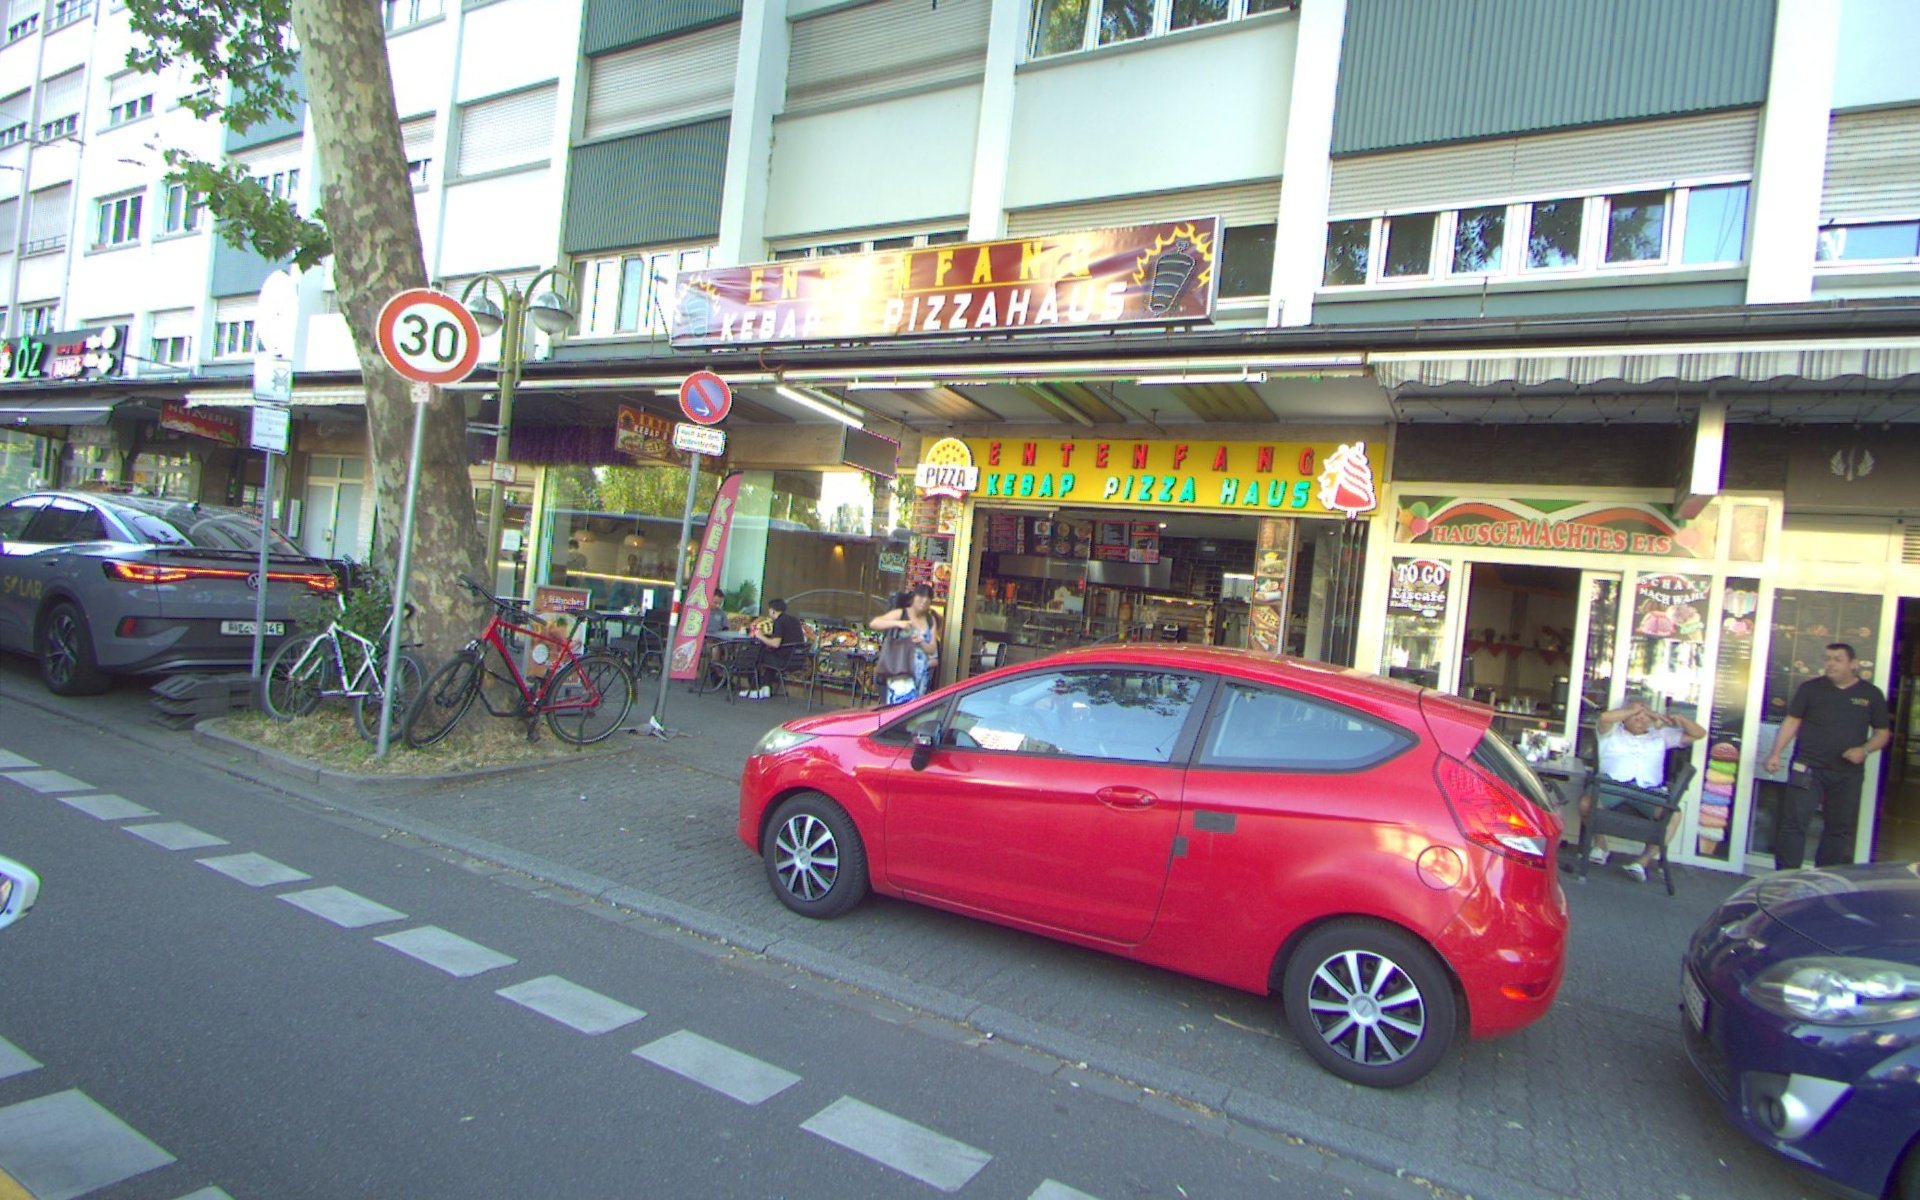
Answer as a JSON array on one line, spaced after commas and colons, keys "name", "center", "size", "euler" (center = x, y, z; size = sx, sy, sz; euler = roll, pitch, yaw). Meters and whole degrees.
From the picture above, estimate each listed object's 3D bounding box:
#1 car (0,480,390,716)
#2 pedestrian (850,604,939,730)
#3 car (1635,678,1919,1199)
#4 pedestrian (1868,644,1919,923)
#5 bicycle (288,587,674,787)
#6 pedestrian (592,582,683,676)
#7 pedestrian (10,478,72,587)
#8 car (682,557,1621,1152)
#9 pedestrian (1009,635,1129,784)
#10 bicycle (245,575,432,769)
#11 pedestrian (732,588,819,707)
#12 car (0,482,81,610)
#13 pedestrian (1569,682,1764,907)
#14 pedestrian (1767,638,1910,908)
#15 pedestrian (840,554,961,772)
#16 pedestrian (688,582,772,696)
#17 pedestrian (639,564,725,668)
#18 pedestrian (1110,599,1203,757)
[{"name": "car", "center": [-7.567, -0.146, 9.206], "size": [4.292, 1.603, 1.996], "euler": [7, 2, 27]}, {"name": "pedestrian", "center": [-0.700, 0.712, 10.842], "size": [0.550, 1.252, 0.689], "euler": [7, 2, 29]}, {"name": "car", "center": [4.191, 1.240, 2.802], "size": [3.549, 1.488, 1.767], "euler": [6, 3, 29]}, {"name": "pedestrian", "center": [6.510, 1.222, 6.624], "size": [0.391, 1.805, 0.552], "euler": [4, 2, -29]}, {"name": "bicycle", "center": [-3.231, 0.532, 7.036], "size": [0.547, 1.171, 2.377], "euler": [7, 4, 44]}, {"name": "pedestrian", "center": [-4.201, 0.371, 13.174], "size": [0.940, 1.094, 0.639], "euler": [7, 0, -9]}, {"name": "pedestrian", "center": [-14.952, -1.096, 16.379], "size": [0.661, 1.688, 0.593], "euler": [4, 2, -42]}, {"name": "car", "center": [0.752, 0.793, 4.850], "size": [3.757, 1.617, 1.783], "euler": [6, 3, 28]}, {"name": "pedestrian", "center": [1.013, 0.979, 9.306], "size": [0.798, 1.225, 0.654], "euler": [7, 2, 28]}, {"name": "bicycle", "center": [-4.453, 0.479, 7.174], "size": [1.421, 1.169, 0.553], "euler": [6, 0, 36]}, {"name": "pedestrian", "center": [-2.124, 0.537, 11.580], "size": [0.679, 1.261, 0.558], "euler": [7, 2, 33]}, {"name": "car", "center": [-14.276, -0.922, 13.694], "size": [4.292, 1.603, 1.996], "euler": [7, 2, 27]}, {"name": "pedestrian", "center": [5.059, 1.334, 7.298], "size": [0.937, 1.352, 1.069], "euler": [7, 0, 30]}, {"name": "pedestrian", "center": [6.221, 1.193, 7.151], "size": [0.547, 1.802, 0.395], "euler": [6, 2, 29]}, {"name": "pedestrian", "center": [-0.498, 0.511, 8.233], "size": [0.783, 1.666, 0.582], "euler": [4, -1, -13]}, {"name": "pedestrian", "center": [-2.733, 0.463, 11.957], "size": [0.680, 1.261, 0.557], "euler": [7, 2, 38]}, {"name": "pedestrian", "center": [-3.972, 0.227, 14.432], "size": [0.958, 1.350, 0.830], "euler": [6, 0, -9]}, {"name": "pedestrian", "center": [2.089, 0.820, 10.665], "size": [0.589, 1.566, 0.700], "euler": [7, 0, 34]}]
